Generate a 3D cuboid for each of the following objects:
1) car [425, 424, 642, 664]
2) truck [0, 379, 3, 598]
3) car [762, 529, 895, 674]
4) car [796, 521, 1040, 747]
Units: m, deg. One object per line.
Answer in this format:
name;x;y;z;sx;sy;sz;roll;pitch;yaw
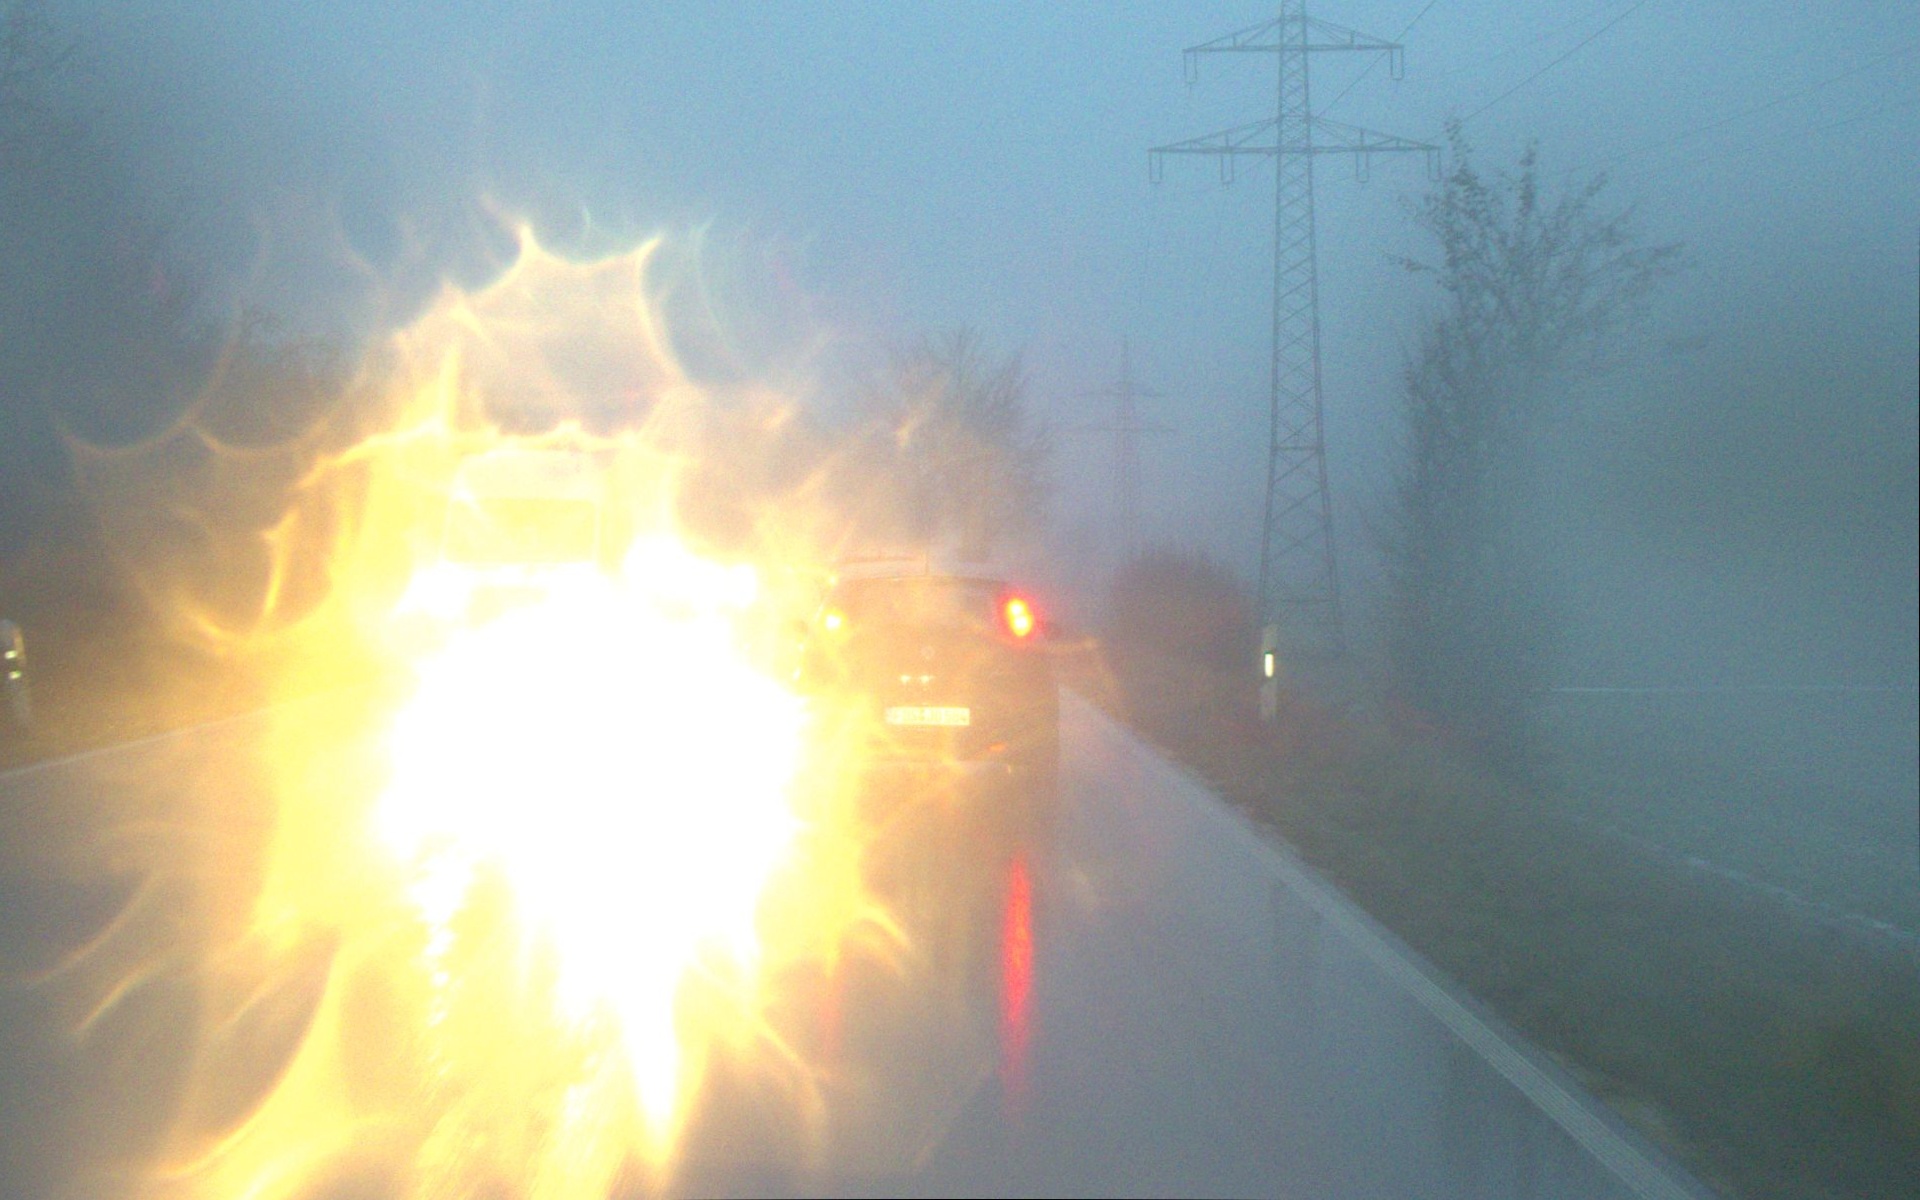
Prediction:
car;-5.069;-0.688;41.659;1.953;2.665;6.272;1;1;-1
truck;-33.601;-3.716;105.084;7.541;7.686;40.162;1;1;-14
car;-1.915;0.000;50.459;1.852;2.007;4.000;1;1;-2
car;-0.312;0.196;23.044;1.500;1.393;3.200;1;1;-2
